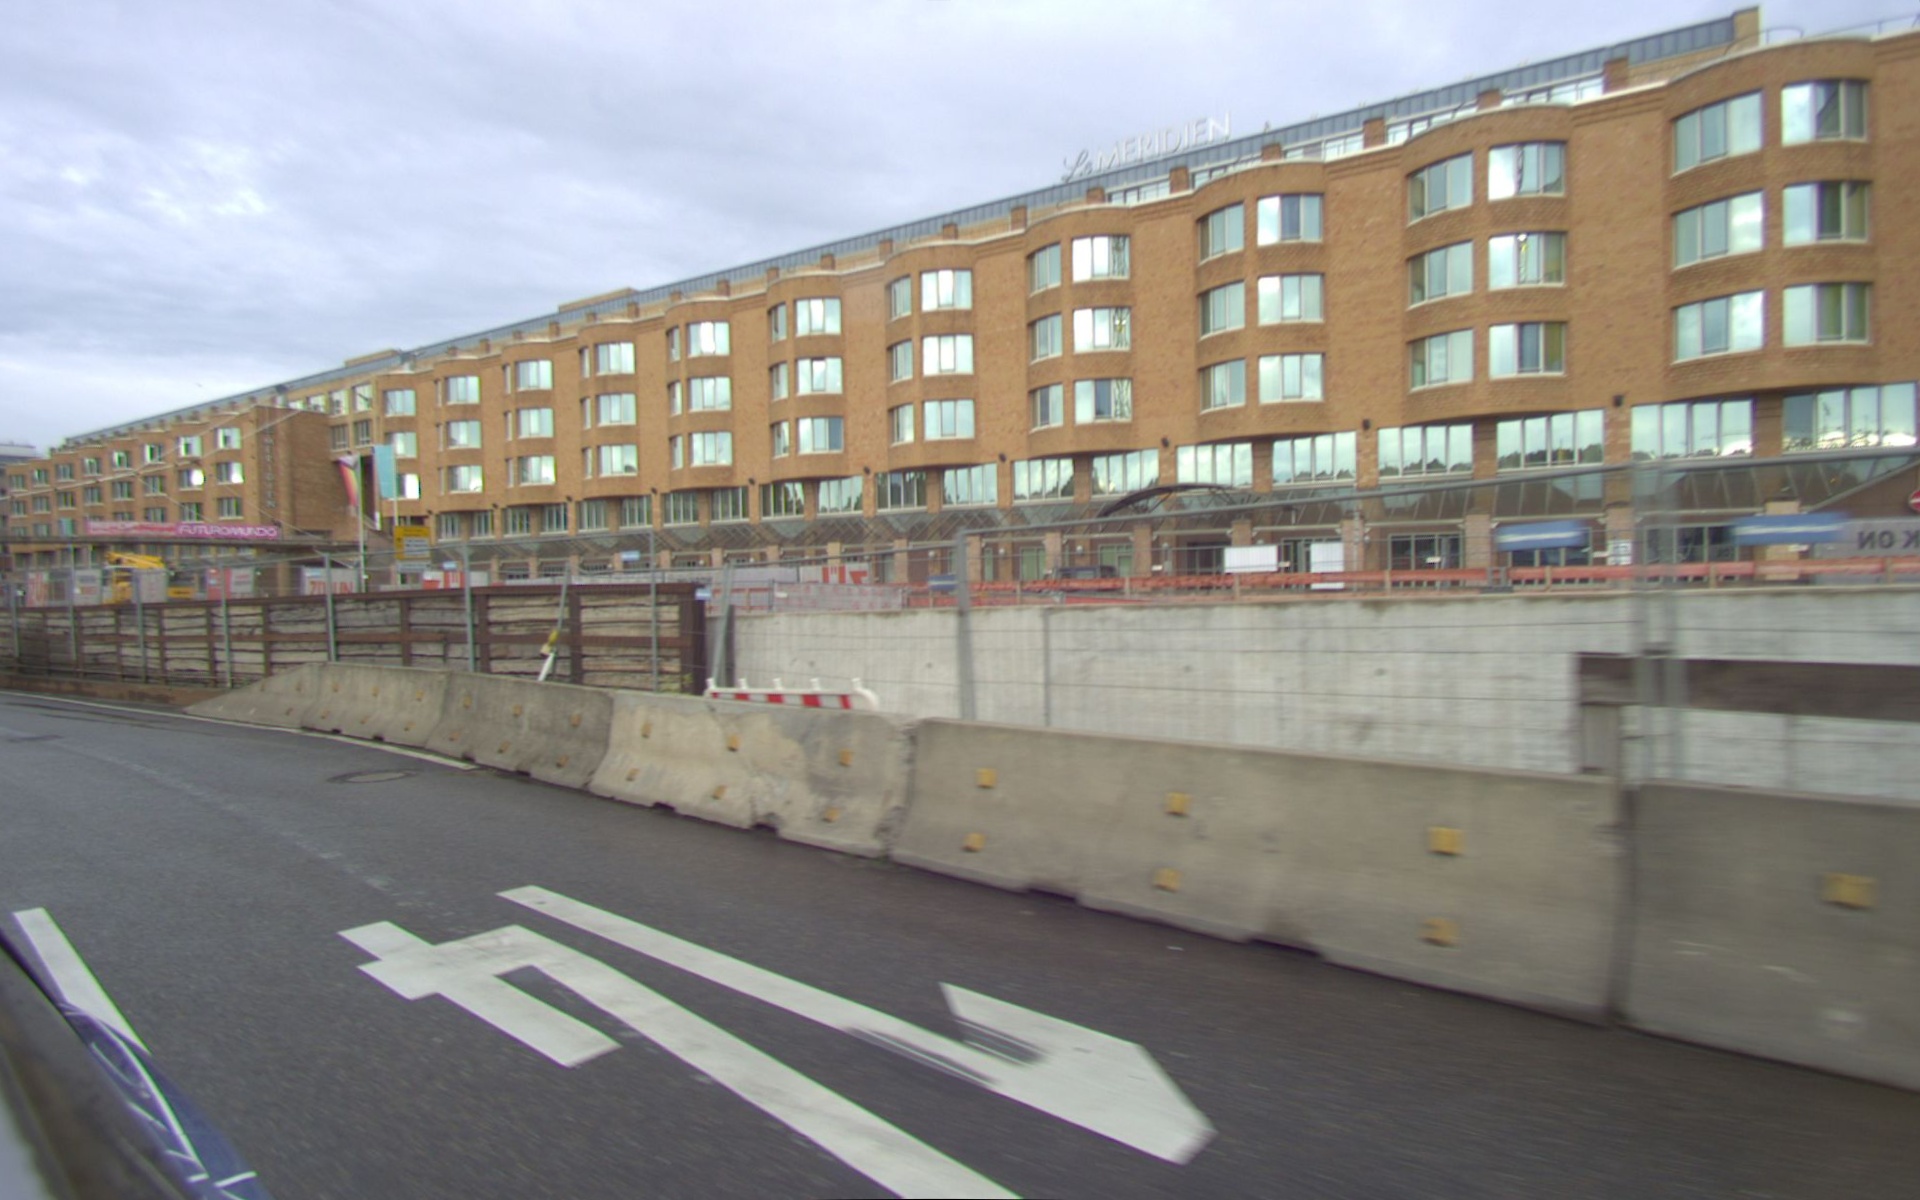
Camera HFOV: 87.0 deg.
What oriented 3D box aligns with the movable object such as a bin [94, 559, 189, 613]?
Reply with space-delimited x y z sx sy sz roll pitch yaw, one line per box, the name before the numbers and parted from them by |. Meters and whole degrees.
movable object such as a bin | -37.707 -0.594 46.588 4.277 2.295 2.012 -1 -2 31
